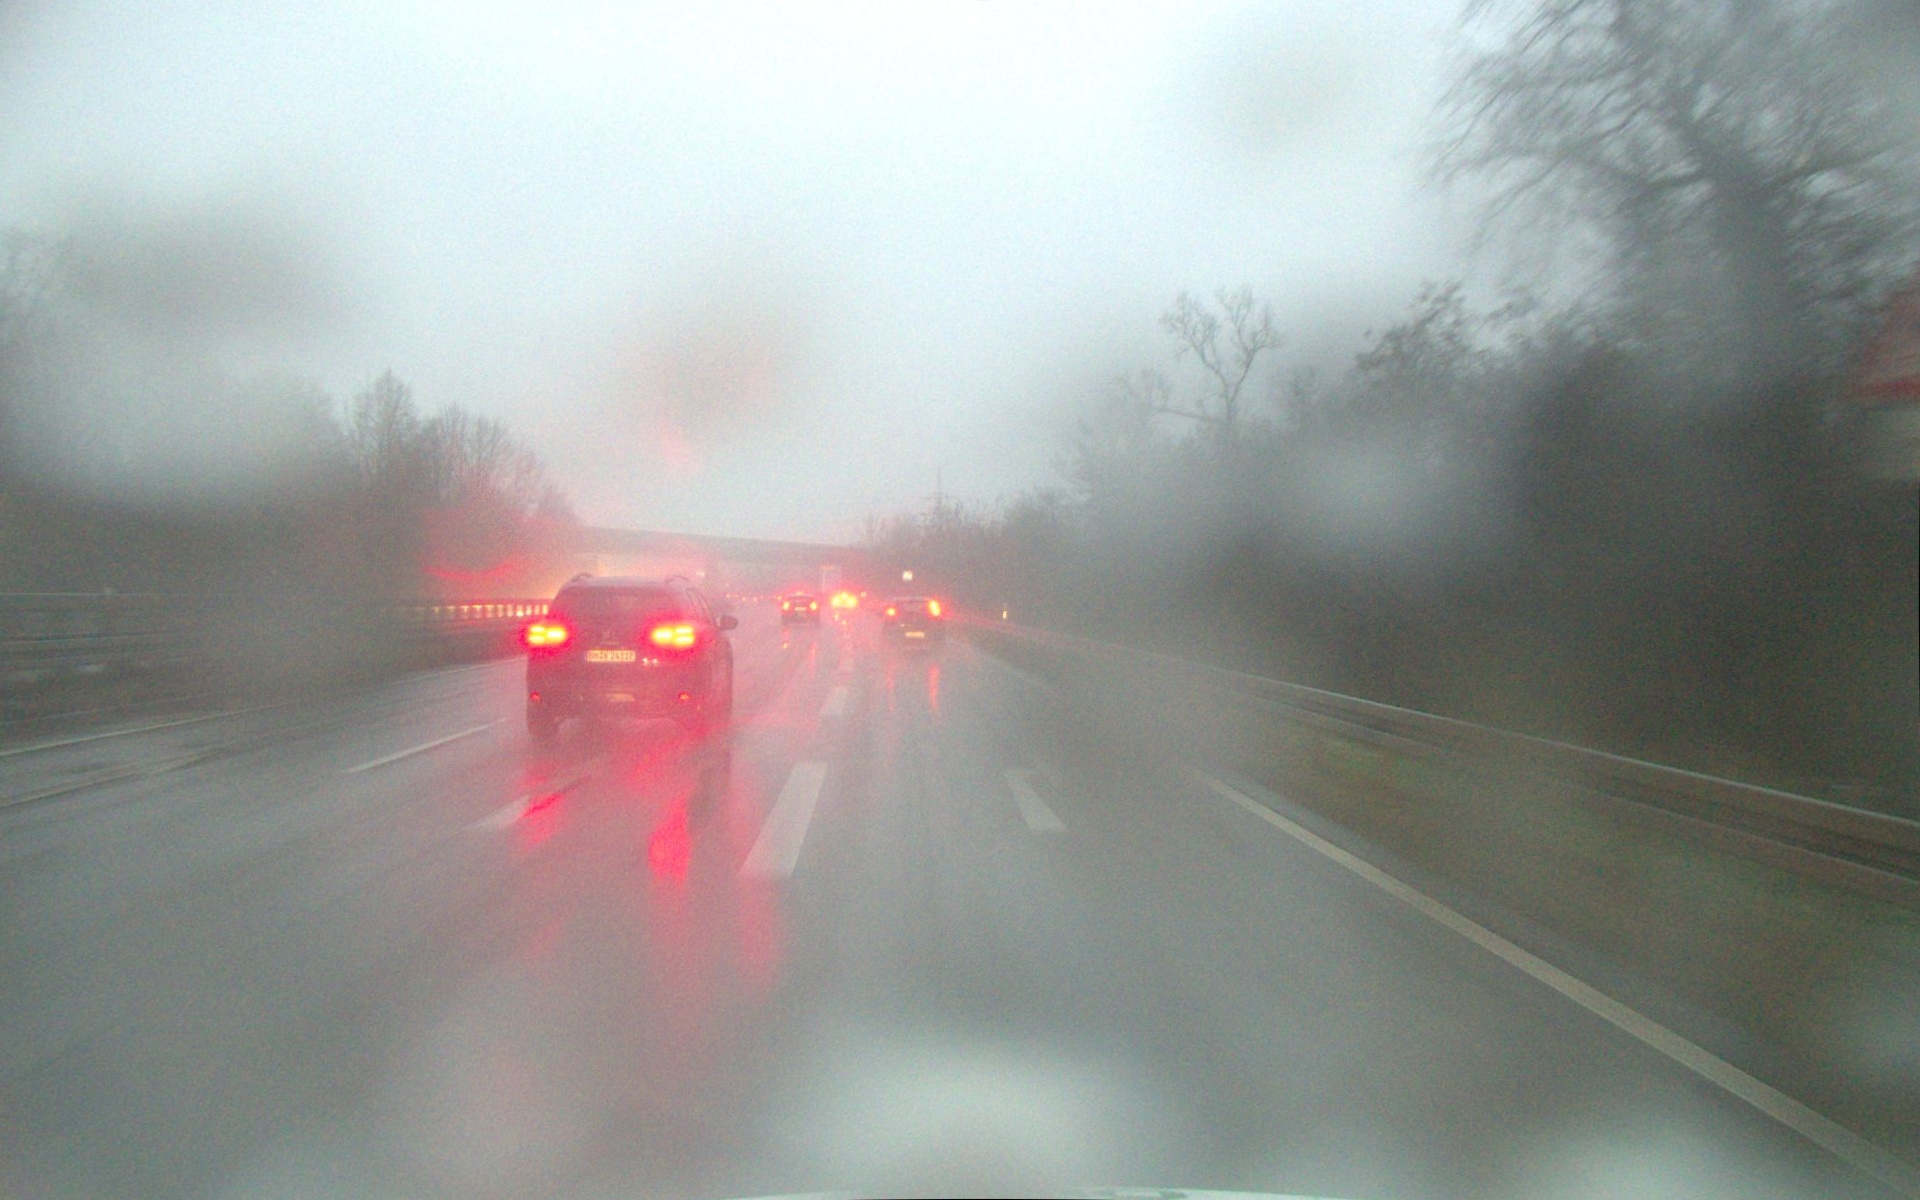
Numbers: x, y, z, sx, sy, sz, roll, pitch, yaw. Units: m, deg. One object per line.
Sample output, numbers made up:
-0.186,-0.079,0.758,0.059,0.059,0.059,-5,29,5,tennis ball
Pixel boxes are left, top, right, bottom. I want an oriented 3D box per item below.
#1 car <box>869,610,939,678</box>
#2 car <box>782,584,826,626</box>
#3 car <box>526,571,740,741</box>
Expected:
-1.562,1.150,44.961,1.698,1.453,3.764,3,3,-4,car
-7.029,0.204,74.200,1.842,1.645,3.870,2,1,-6,car
-3.540,0.553,18.574,1.955,1.694,3.995,0,0,-6,car
